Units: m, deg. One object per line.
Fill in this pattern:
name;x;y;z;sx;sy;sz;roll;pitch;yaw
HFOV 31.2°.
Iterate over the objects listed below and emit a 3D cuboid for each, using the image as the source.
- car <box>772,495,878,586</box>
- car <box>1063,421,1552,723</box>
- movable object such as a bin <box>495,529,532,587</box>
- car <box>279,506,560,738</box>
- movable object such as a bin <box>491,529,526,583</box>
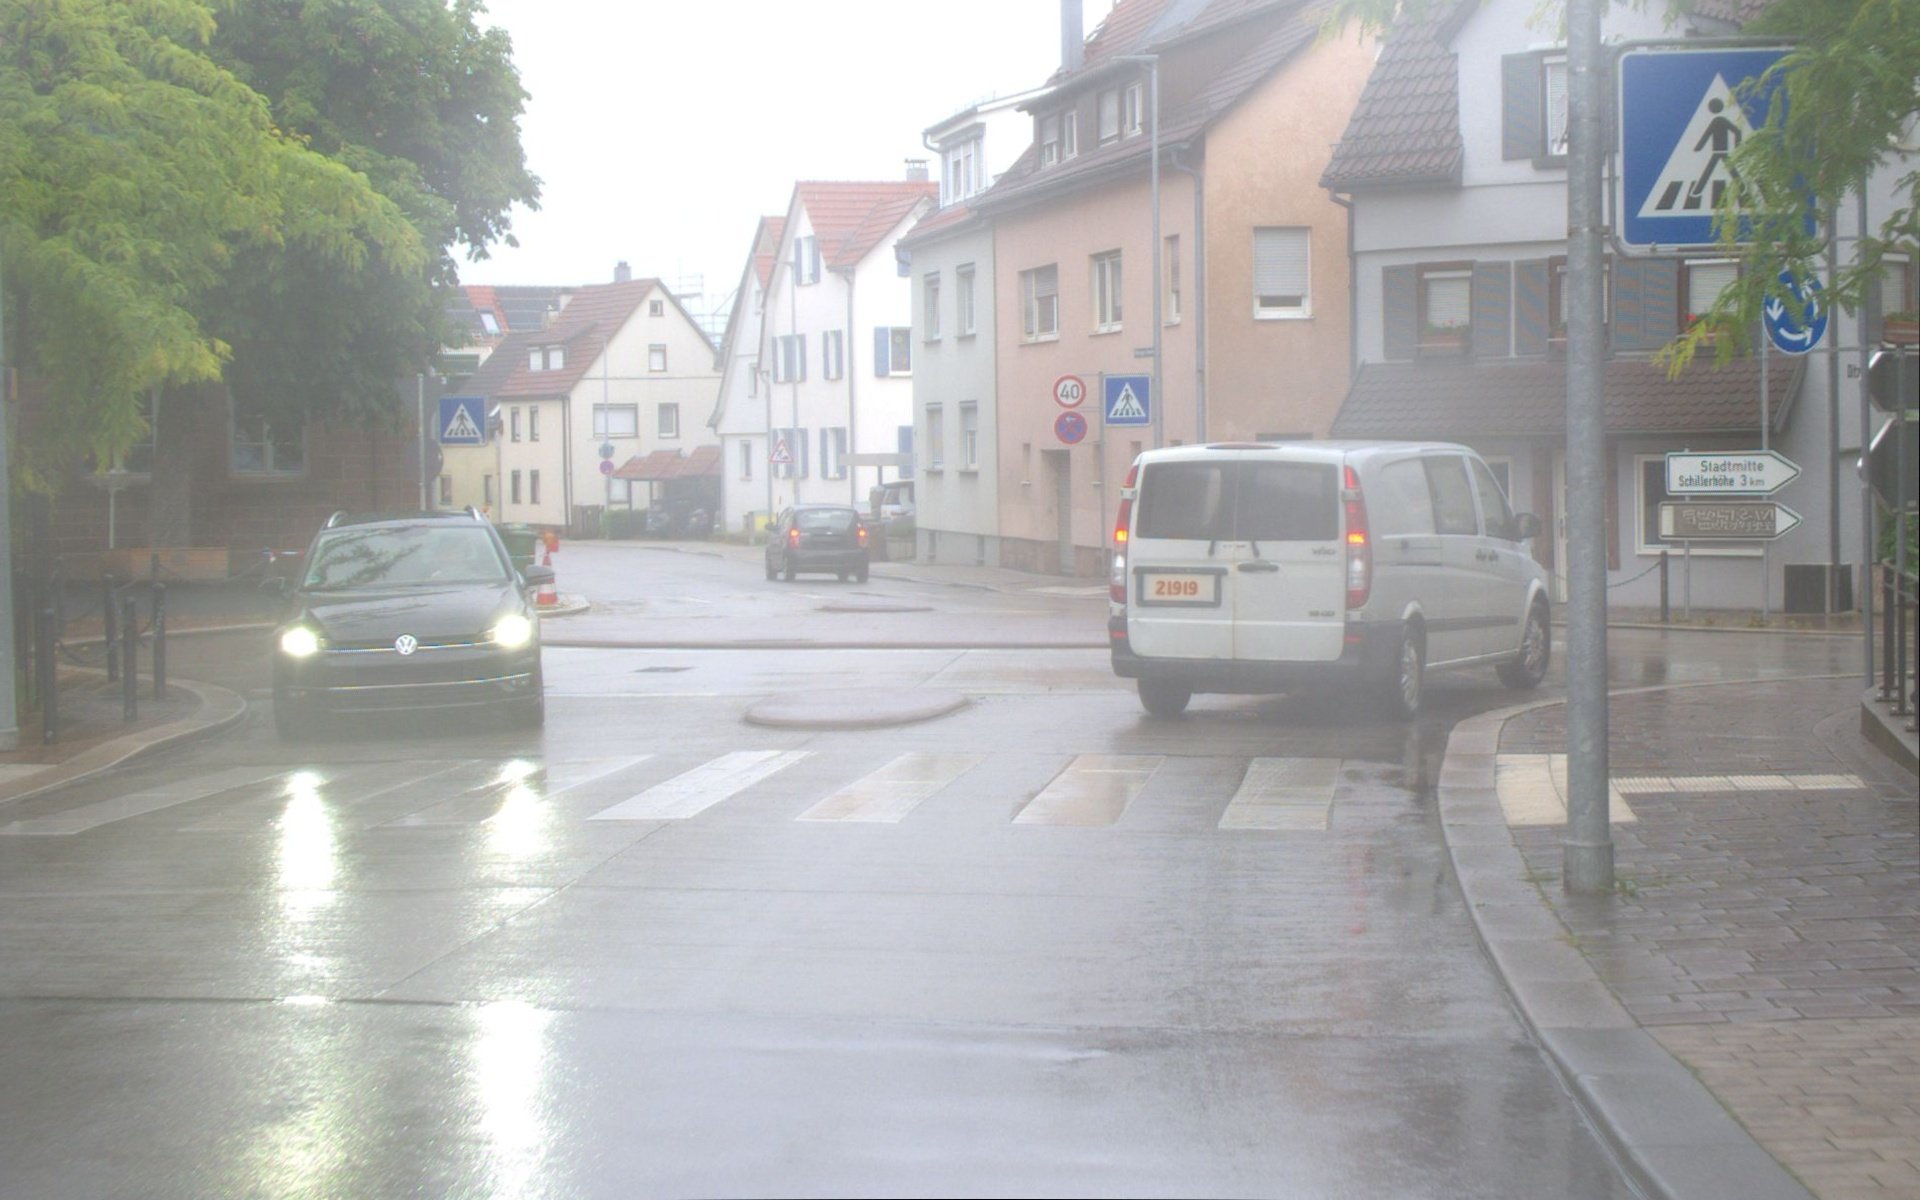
car;-2.611;-1.122;65.756;1.972;1.674;4.069;0;1;-3
car;2.581;-0.205;24.223;2.155;1.892;4.920;0;1;22
movable object such as a bin;-9.087;-0.851;69.966;0.626;1.169;0.762;1;1;-14
car;-3.713;0.078;24.201;1.665;1.425;4.470;0;2;-5
movable object such as a bin;-9.863;-0.963;75.159;0.654;1.165;0.782;1;1;-14
